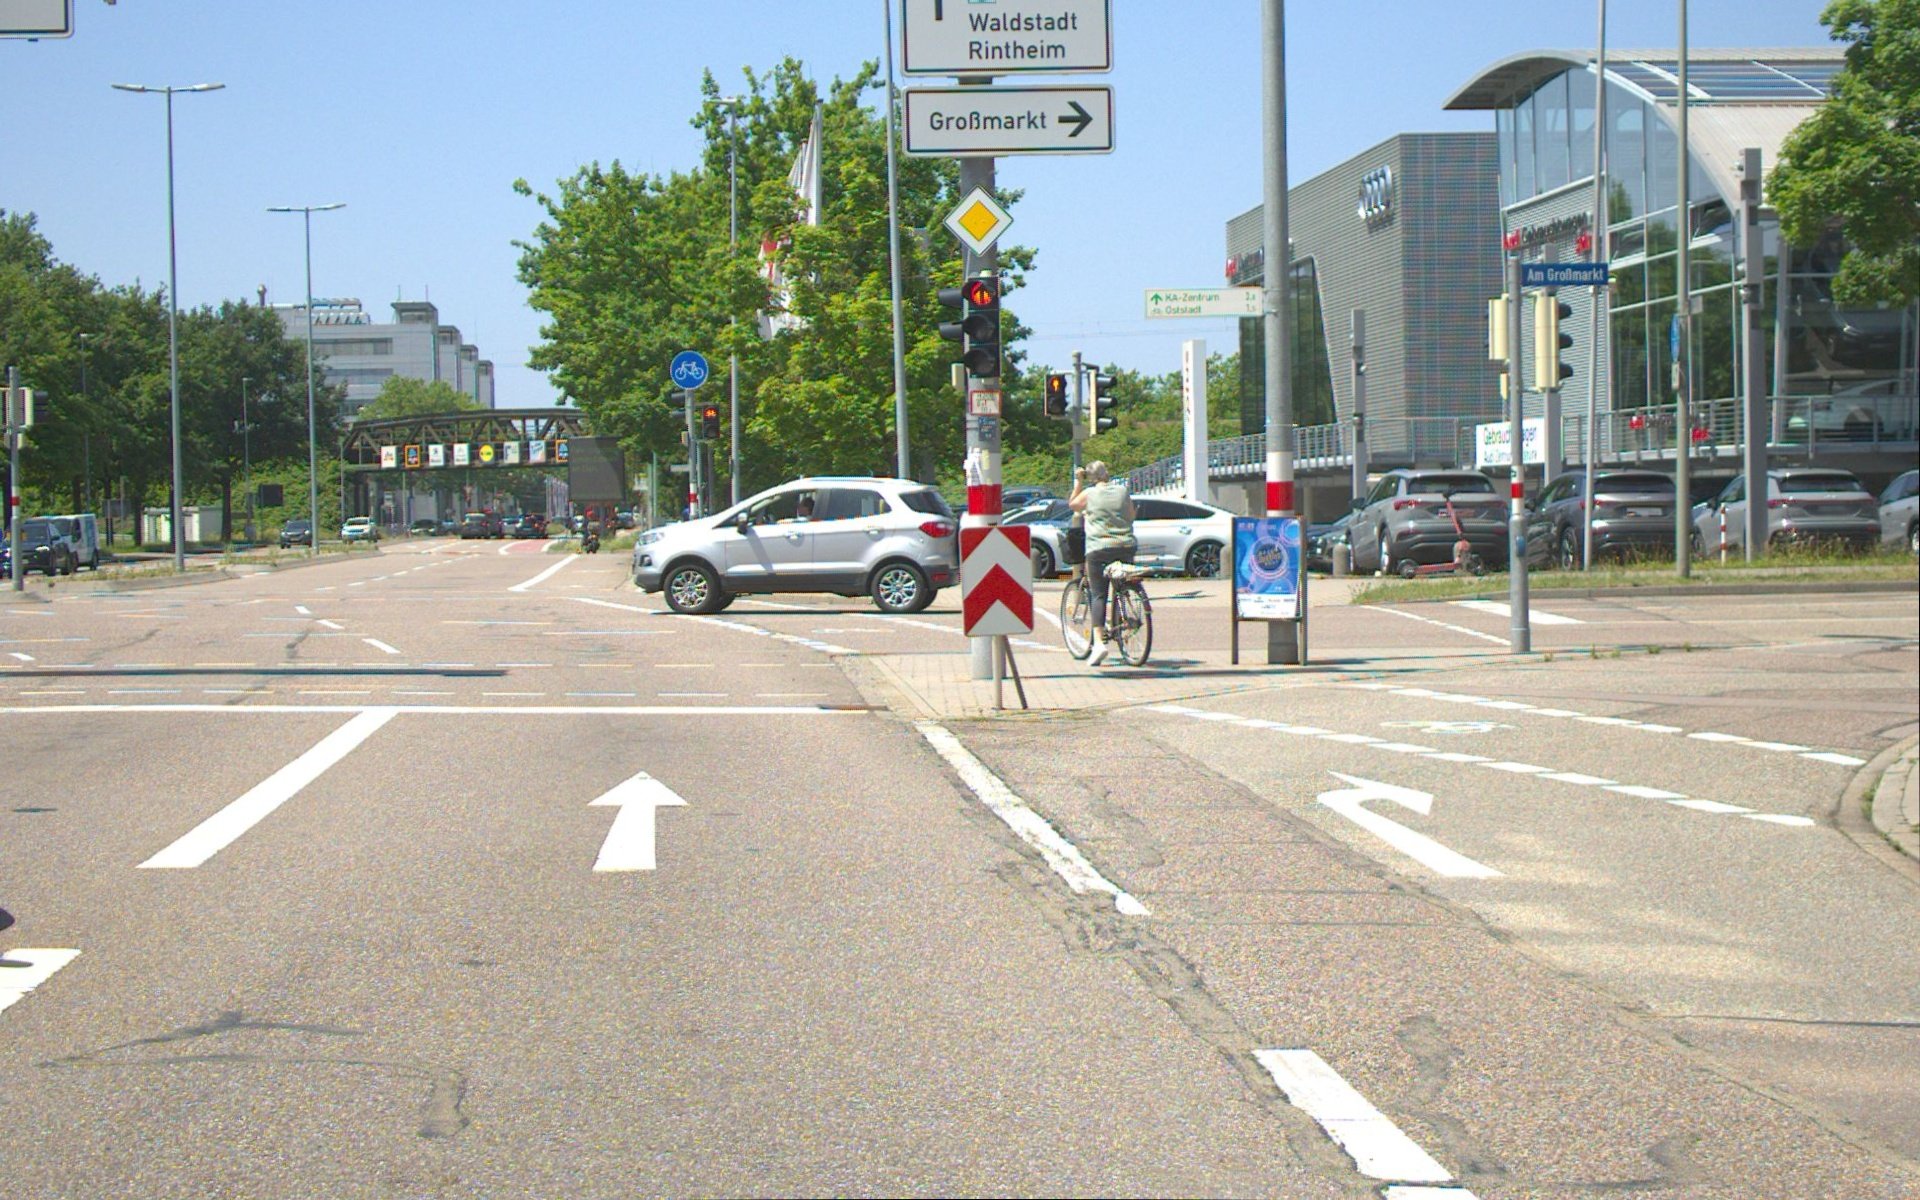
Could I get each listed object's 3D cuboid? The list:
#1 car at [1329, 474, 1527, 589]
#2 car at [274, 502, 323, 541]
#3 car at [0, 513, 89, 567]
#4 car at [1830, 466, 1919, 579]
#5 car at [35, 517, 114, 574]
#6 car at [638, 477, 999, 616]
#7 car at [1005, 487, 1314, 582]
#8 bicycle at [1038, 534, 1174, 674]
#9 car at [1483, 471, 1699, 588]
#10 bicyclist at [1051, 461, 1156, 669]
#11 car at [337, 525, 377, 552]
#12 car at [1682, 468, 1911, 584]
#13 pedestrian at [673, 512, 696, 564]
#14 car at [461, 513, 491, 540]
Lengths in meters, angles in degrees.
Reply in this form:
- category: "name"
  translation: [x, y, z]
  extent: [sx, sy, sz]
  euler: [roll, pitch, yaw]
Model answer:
- category: "car"
  translation: [6.911, -1.057, 51.202]
  extent: [1.993, 1.634, 4.269]
  euler: [-1, 2, -5]
- category: "car"
  translation: [-36.236, -4.271, 188.304]
  extent: [1.993, 2.007, 4.000]
  euler: [0, 0, -2]
- category: "car"
  translation: [-27.903, -1.830, 104.933]
  extent: [1.874, 1.593, 4.497]
  euler: [-1, 1, -5]
- category: "car"
  translation: [14.881, -1.201, 52.045]
  extent: [1.885, 1.634, 4.526]
  euler: [-1, 2, -5]
- category: "car"
  translation: [-31.984, -1.978, 124.245]
  extent: [1.993, 2.001, 4.765]
  euler: [-1, 1, -5]
- category: "car"
  translation: [-1.688, -0.657, 41.860]
  extent: [4.196, 1.646, 1.715]
  euler: [0, 2, 5]
- category: "car"
  translation: [3.166, -1.066, 55.138]
  extent: [4.741, 1.452, 2.000]
  euler: [-1, 2, -3]
- category: "bicycle"
  translation: [1.234, 0.013, 29.486]
  extent: [0.786, 1.123, 1.921]
  euler: [0, 2, -9]
- category: "car"
  translation: [9.369, -1.091, 51.396]
  extent: [1.993, 1.634, 4.559]
  euler: [-1, 2, -5]
- category: "bicyclist"
  translation: [1.222, -0.308, 29.396]
  extent: [0.733, 1.743, 0.754]
  euler: [0, 2, -9]
- category: "car"
  translation: [-37.240, -3.793, 212.323]
  extent: [1.926, 1.659, 4.089]
  euler: [-1, 1, -3]
- category: "car"
  translation: [12.541, -1.153, 51.803]
  extent: [1.993, 1.634, 4.442]
  euler: [-1, 2, -5]
- category: "pedestrian"
  translation: [-8.160, -1.834, 101.820]
  extent: [0.668, 1.505, 0.736]
  euler: [-1, 1, -5]
- category: "car"
  translation: [-32.097, -4.858, 227.970]
  extent: [1.771, 1.722, 4.001]
  euler: [-1, 1, -5]
